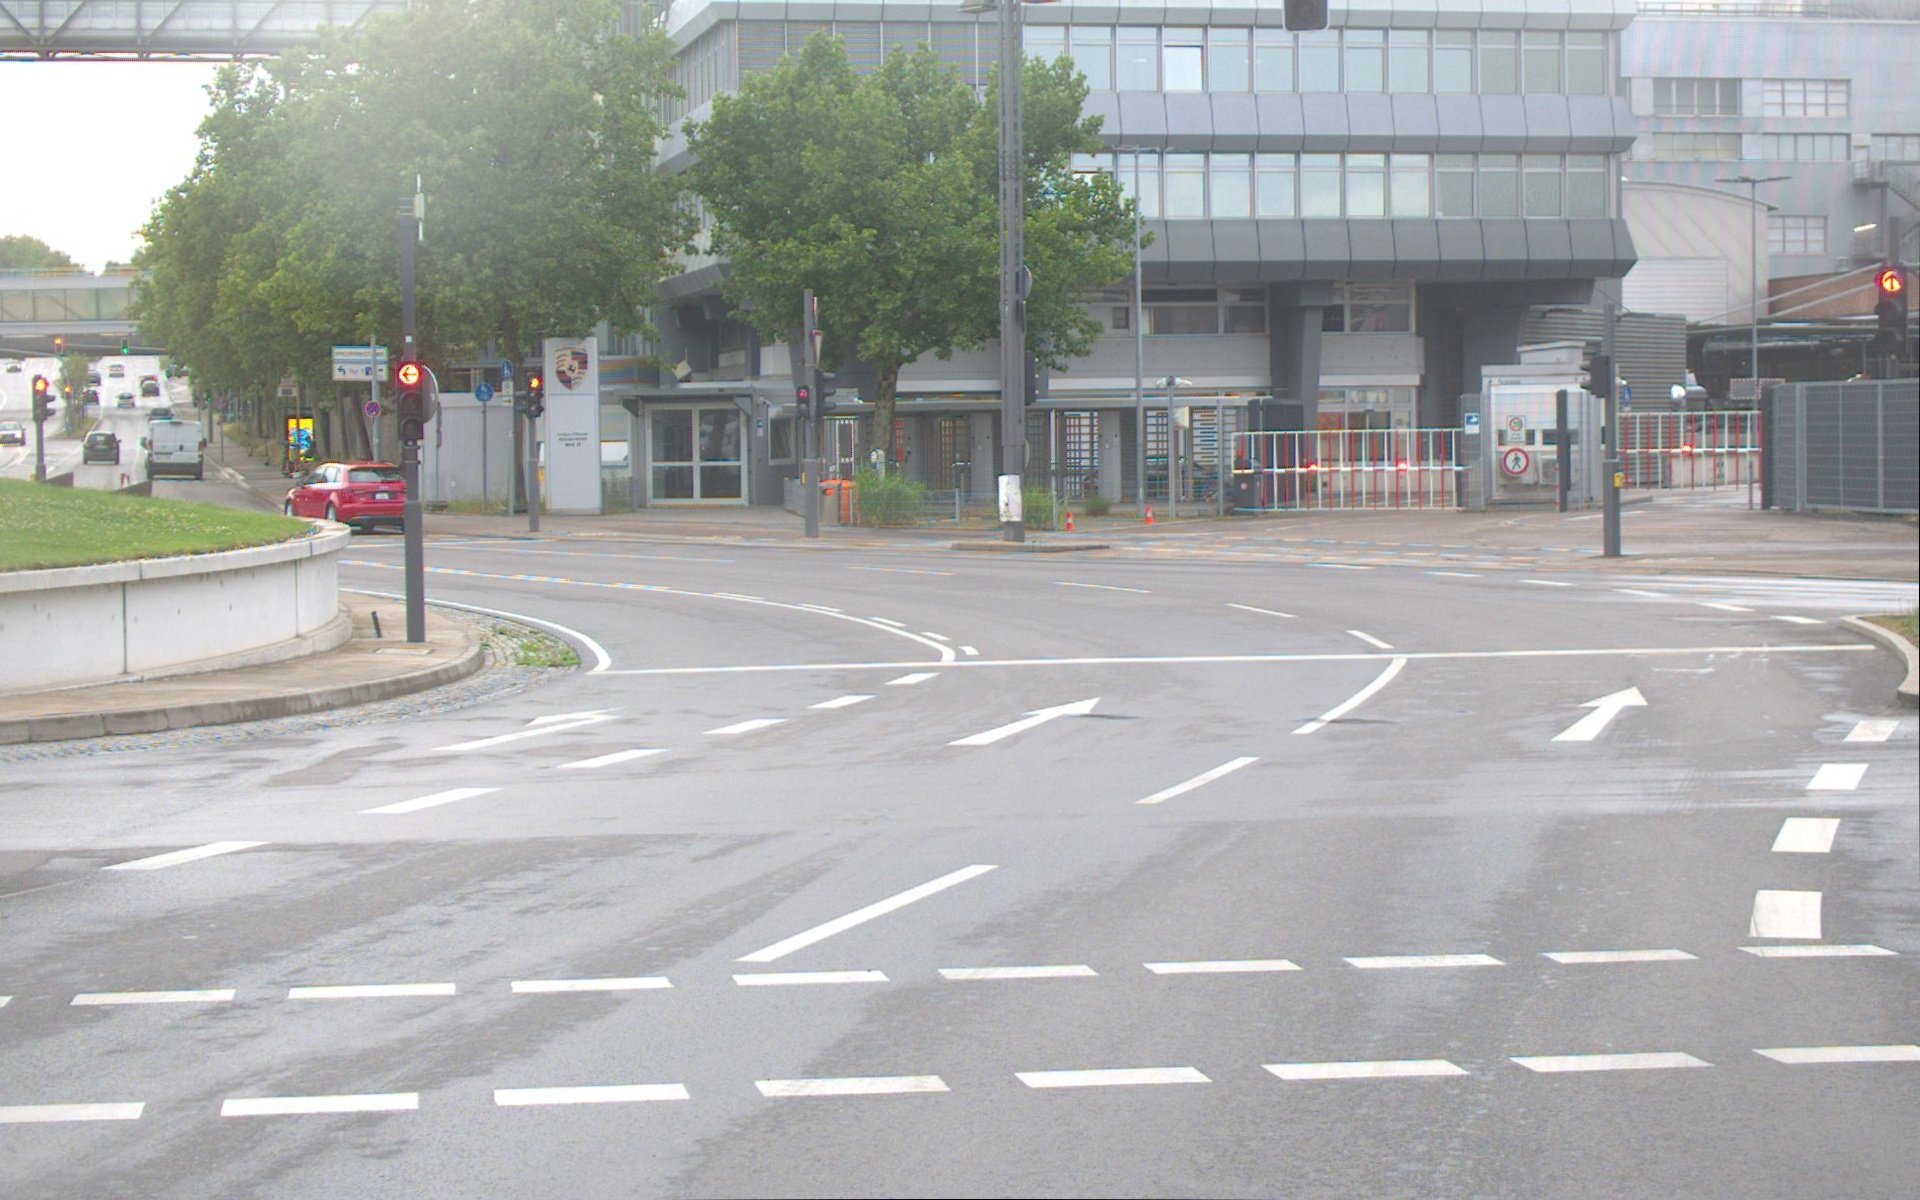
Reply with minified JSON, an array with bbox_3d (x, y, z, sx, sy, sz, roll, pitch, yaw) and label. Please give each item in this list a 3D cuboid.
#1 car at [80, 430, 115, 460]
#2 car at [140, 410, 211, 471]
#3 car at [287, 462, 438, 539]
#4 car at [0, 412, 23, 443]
[{"bbox_3d":[-40.591,-7.296,161.829,1.556,1.284,3.415,-1,1,-14],"label":"car"},{"bbox_3d":[-29.658,-6.018,129.908,2.232,2.100,4.956,-1,0,-17],"label":"car"},{"bbox_3d":[-11.969,-1.971,68.694,1.772,1.459,3.733,-1,1,-30],"label":"car"},{"bbox_3d":[-57.832,-10.476,208.912,1.627,1.810,3.734,0,2,-15],"label":"car"}]
